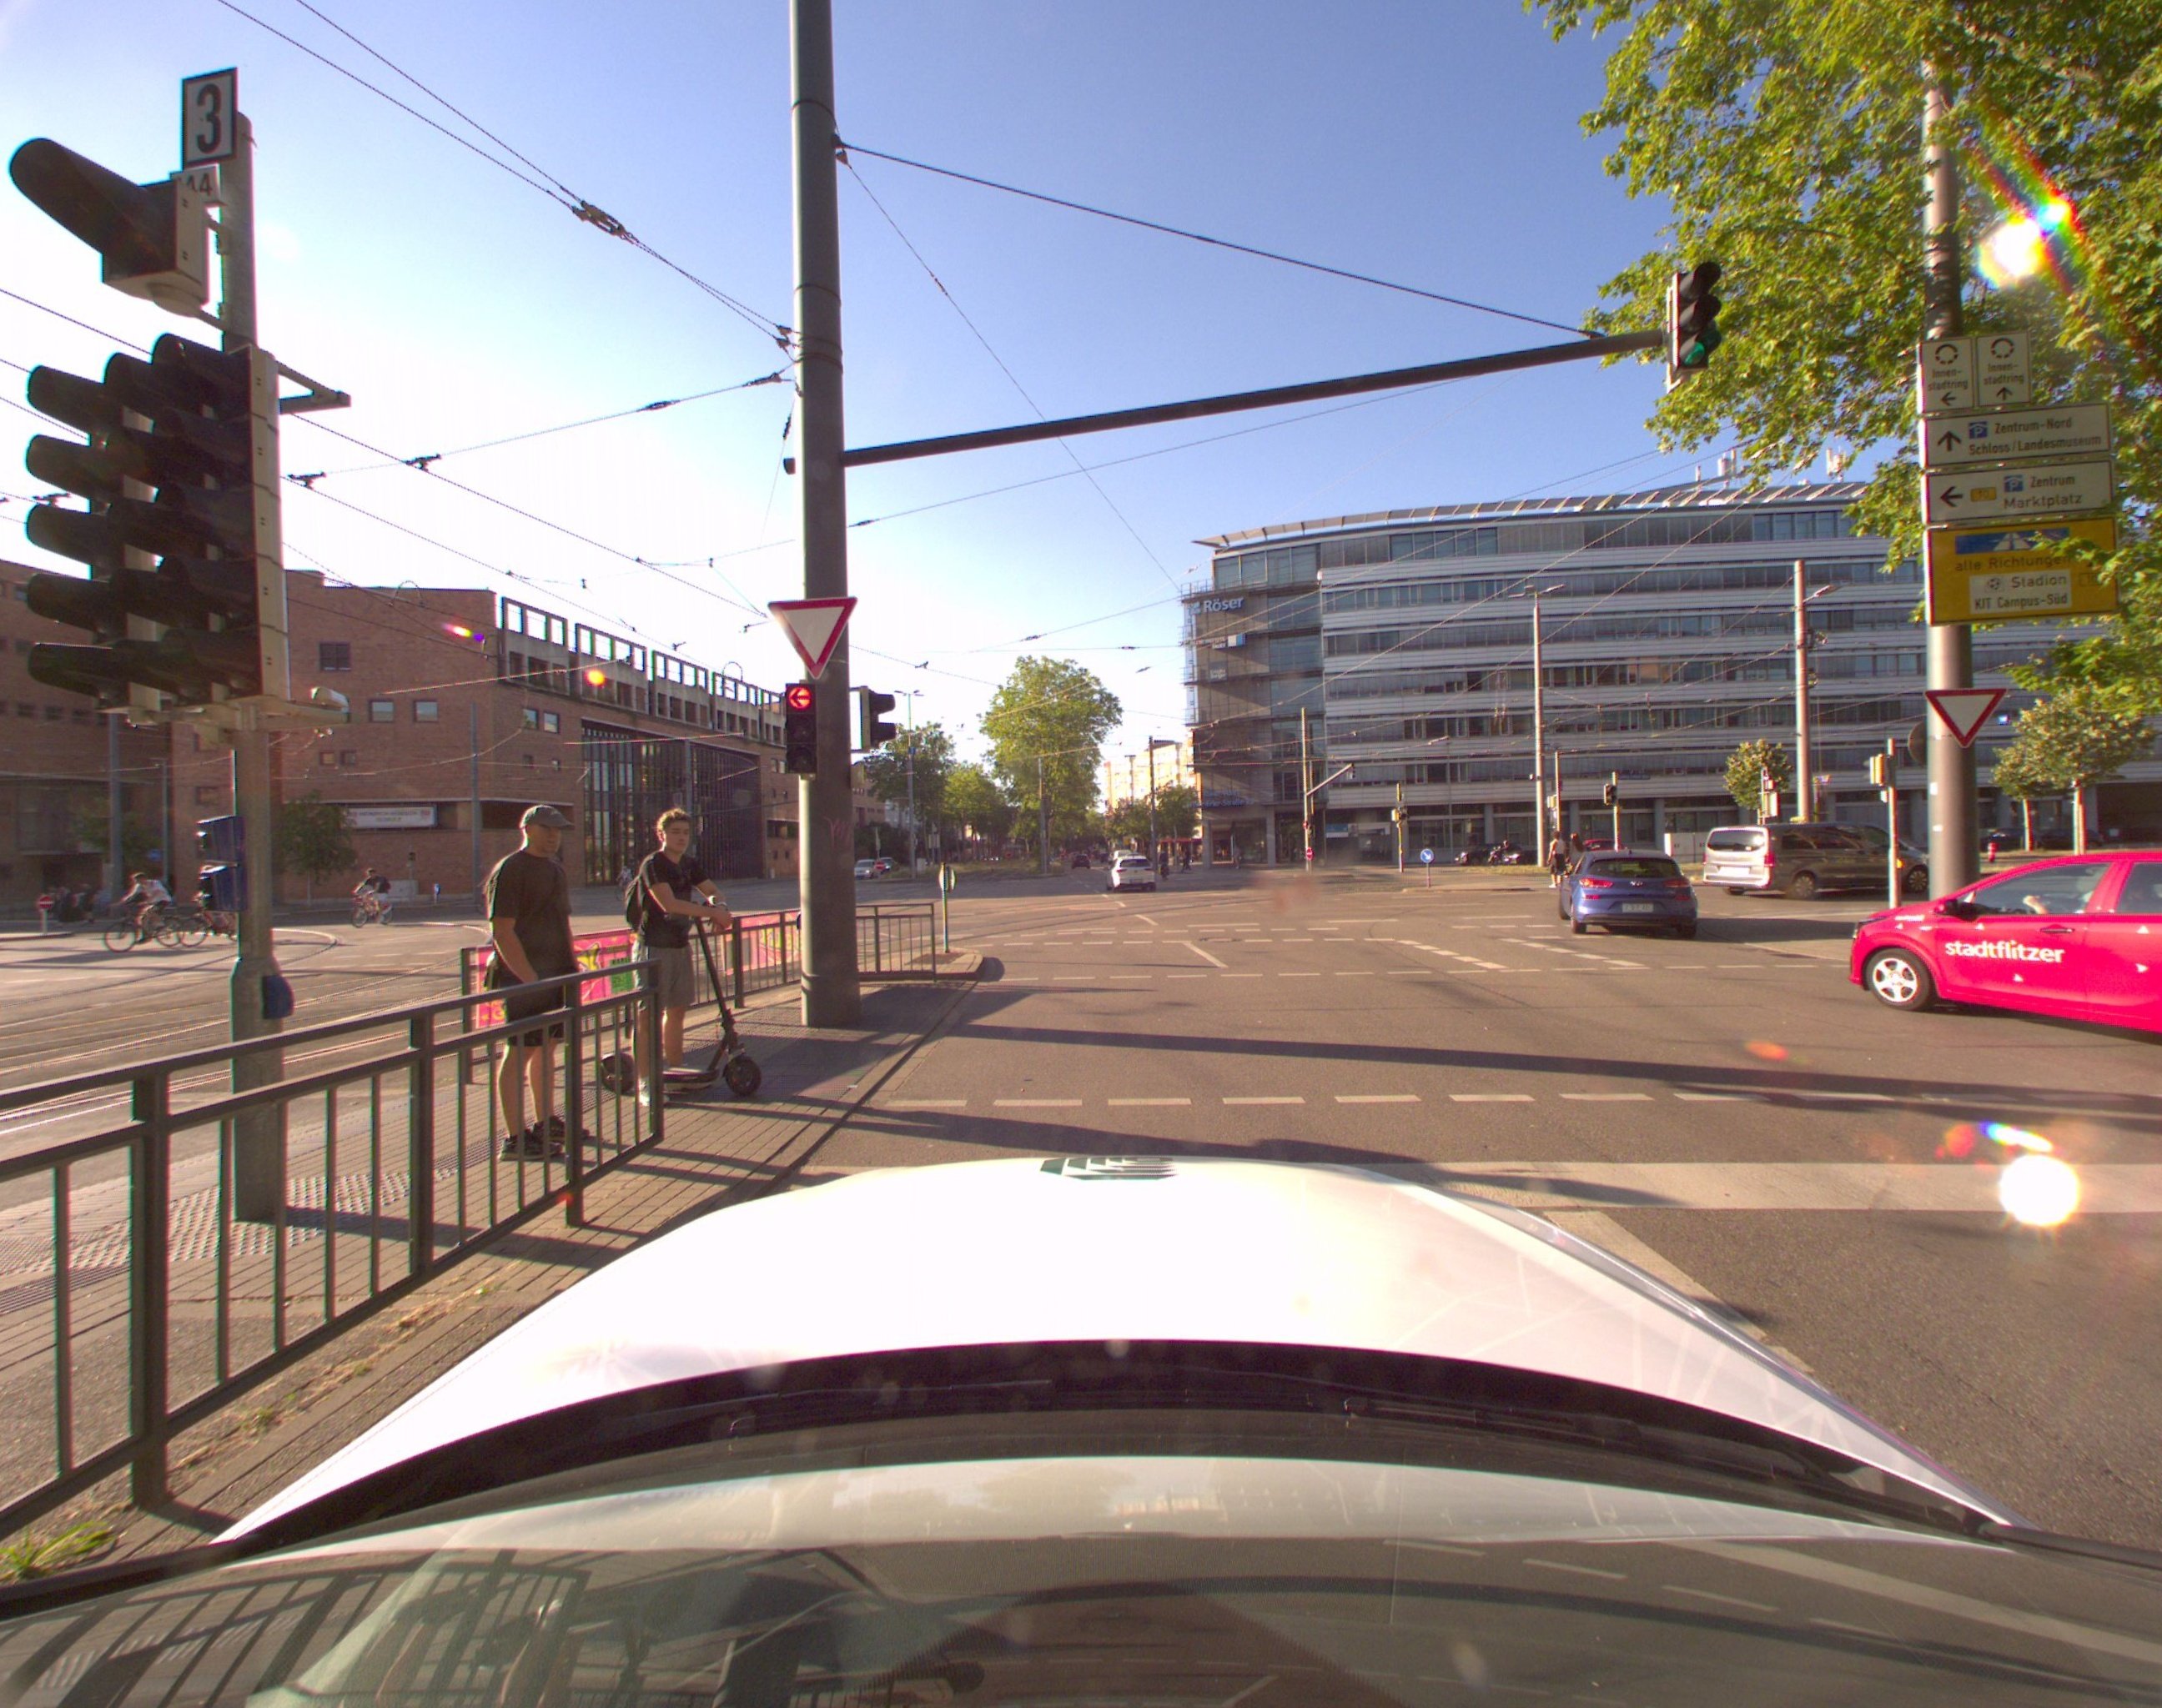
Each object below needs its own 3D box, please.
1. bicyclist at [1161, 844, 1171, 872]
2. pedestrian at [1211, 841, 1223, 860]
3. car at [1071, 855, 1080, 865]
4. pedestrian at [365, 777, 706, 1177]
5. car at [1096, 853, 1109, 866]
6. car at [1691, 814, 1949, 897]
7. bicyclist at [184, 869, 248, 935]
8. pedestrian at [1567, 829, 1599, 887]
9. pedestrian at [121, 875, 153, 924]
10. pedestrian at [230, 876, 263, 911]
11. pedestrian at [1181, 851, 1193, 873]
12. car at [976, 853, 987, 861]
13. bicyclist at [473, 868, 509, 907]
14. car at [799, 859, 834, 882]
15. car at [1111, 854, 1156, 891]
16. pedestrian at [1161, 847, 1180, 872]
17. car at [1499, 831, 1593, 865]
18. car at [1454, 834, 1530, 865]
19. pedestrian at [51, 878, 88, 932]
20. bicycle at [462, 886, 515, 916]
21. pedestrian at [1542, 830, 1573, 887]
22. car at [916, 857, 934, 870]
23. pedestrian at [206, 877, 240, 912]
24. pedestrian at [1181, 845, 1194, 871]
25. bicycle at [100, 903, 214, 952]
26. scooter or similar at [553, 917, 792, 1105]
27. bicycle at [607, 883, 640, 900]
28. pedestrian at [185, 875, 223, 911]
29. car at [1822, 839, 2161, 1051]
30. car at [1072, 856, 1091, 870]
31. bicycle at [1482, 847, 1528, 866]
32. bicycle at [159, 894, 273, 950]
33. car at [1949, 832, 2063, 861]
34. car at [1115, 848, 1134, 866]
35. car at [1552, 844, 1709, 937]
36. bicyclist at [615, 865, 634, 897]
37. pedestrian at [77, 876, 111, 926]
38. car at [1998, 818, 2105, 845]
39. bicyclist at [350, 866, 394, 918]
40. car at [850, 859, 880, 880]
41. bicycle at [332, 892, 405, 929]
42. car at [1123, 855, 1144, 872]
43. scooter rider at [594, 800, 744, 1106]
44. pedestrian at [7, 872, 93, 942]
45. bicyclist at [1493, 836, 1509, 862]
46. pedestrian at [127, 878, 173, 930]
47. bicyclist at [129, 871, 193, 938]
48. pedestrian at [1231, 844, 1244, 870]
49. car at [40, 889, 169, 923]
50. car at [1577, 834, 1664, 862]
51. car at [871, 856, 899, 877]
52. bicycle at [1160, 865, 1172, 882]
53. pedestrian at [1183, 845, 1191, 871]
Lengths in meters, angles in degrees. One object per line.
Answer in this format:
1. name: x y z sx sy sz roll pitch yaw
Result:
1. bicyclist: 4.459 0.211 42.812 0.485 1.439 0.616 0 1 1
2. pedestrian: 15.179 -0.387 91.122 1.305 2.190 1.173 -1 -1 8
3. car: -1.356 1.396 200.000 1.985 2.015 4.000 0 -7 3
4. pedestrian: -2.820 0.601 4.326 1.161 1.884 0.856 -2 0 6
5. car: 3.323 0.871 126.862 1.986 2.014 4.001 0 -1 2
6. car: 18.443 0.025 20.470 4.857 1.896 2.005 -1 0 -4
7. bicyclist: -21.728 1.182 20.476 0.681 1.560 0.758 -2 2 -5
8. pedestrian: 15.607 0.110 25.320 0.677 1.759 0.746 -2 0 22
9. pedestrian: -39.436 1.887 34.025 0.615 2.013 0.726 -2 0 -28
10. pedestrian: -49.945 2.361 48.756 1.003 2.052 0.850 -2 0 -1
11. pedestrian: 8.279 0.619 63.822 0.866 1.707 0.794 0 -1 1
12. car: -24.813 0.757 203.480 1.867 2.013 4.477 -2 0 4
13. bicyclist: -22.731 1.280 31.398 0.652 1.474 1.031 -1 -1 -3
14. car: -21.659 1.331 66.749 1.865 1.762 3.992 0 0 -5
15. car: 2.182 0.741 33.986 1.740 1.418 4.004 -1 0 4
16. pedestrian: 7.166 0.413 65.087 1.337 1.950 1.011 -2 -1 1
17. car: 26.417 -0.322 46.379 4.234 1.723 1.886 -2 0 4
18. car: 27.070 -0.292 53.735 3.972 2.014 2.001 0 -1 2
19. pedestrian: -38.755 1.950 31.220 0.615 2.013 0.726 -2 0 -29
20. bicycle: -22.734 1.776 31.302 0.650 1.050 2.010 -1 0 -3
21. pedestrian: 14.947 0.131 25.553 0.671 1.759 0.746 -2 0 22
22. car: -19.197 1.170 100.141 1.673 1.607 3.994 0 -1 -4
23. pedestrian: -51.466 2.419 48.857 1.003 2.052 0.850 -2 0 -1
24. pedestrian: 8.214 0.303 62.872 0.846 2.014 0.708 0 -1 1
25. bicycle: -22.623 1.777 19.998 0.651 0.998 1.900 -2 0 -2
26. scooter or similar: -2.631 0.993 5.323 1.196 1.081 0.649 -2 0 5
27. bicycle: -23.197 1.898 41.325 0.588 0.771 1.966 -2 0 -2
28. pedestrian: -51.316 2.258 47.653 1.155 2.013 0.910 -2 0 -2
29. car: 8.201 0.621 6.394 1.485 1.459 3.596 -1 0 0
30. car: 0.032 0.884 81.670 1.759 1.404 4.293 -1 0 -2
31. bicycle: 25.526 0.136 49.032 2.397 1.022 0.638 -2 0 6
32. bicycle: -21.714 1.686 20.520 0.684 1.142 2.107 -2 2 -5
33. car: 52.495 -0.415 46.283 4.097 1.596 1.884 0 -1 5
34. car: 4.743 0.342 89.701 1.986 2.014 4.001 0 -1 2
35. car: 9.952 0.574 15.085 1.732 1.459 4.236 -1 0 25
36. bicyclist: -23.223 1.367 41.423 0.585 1.625 0.514 -2 0 -2
37. pedestrian: -40.399 1.904 33.330 0.615 2.013 0.726 -2 0 -28
38. car: 59.367 -1.365 49.871 4.097 1.596 1.884 0 -1 5
39. bicyclist: -22.241 1.180 25.561 0.660 1.569 0.757 -2 0 -6
40. car: -17.957 1.252 67.882 1.618 1.577 3.994 -2 0 -4
41. bicycle: -22.216 1.740 25.443 0.692 0.998 1.898 -2 0 -5
42. car: 5.305 0.967 82.779 2.022 1.596 4.001 0 -1 2
43. scooter rider: -2.666 0.612 5.322 0.563 1.853 0.681 -2 -2 6
44. pedestrian: -30.969 1.572 24.482 1.029 2.014 1.208 0 -1 1
45. bicyclist: 25.284 -0.307 49.043 0.660 1.503 0.614 -2 0 7
46. pedestrian: -35.352 1.883 30.933 0.721 1.902 0.875 0 -1 -1
47. bicyclist: -22.630 1.233 20.047 0.659 1.574 0.758 -2 0 -3
48. pedestrian: 12.324 0.212 64.267 0.866 2.014 0.794 0 -2 1
49. car: -46.156 2.442 38.554 3.703 1.376 1.581 -2 0 -10
50. car: 32.060 -0.345 48.477 3.966 1.552 1.800 0 -1 6
51. car: -18.098 1.144 75.507 1.819 1.790 3.994 -2 0 -4
52. bicycle: 4.446 1.017 42.790 0.489 0.788 1.862 -1 0 2
53. pedestrian: 8.189 0.306 62.811 0.584 2.014 0.620 0 -1 2
